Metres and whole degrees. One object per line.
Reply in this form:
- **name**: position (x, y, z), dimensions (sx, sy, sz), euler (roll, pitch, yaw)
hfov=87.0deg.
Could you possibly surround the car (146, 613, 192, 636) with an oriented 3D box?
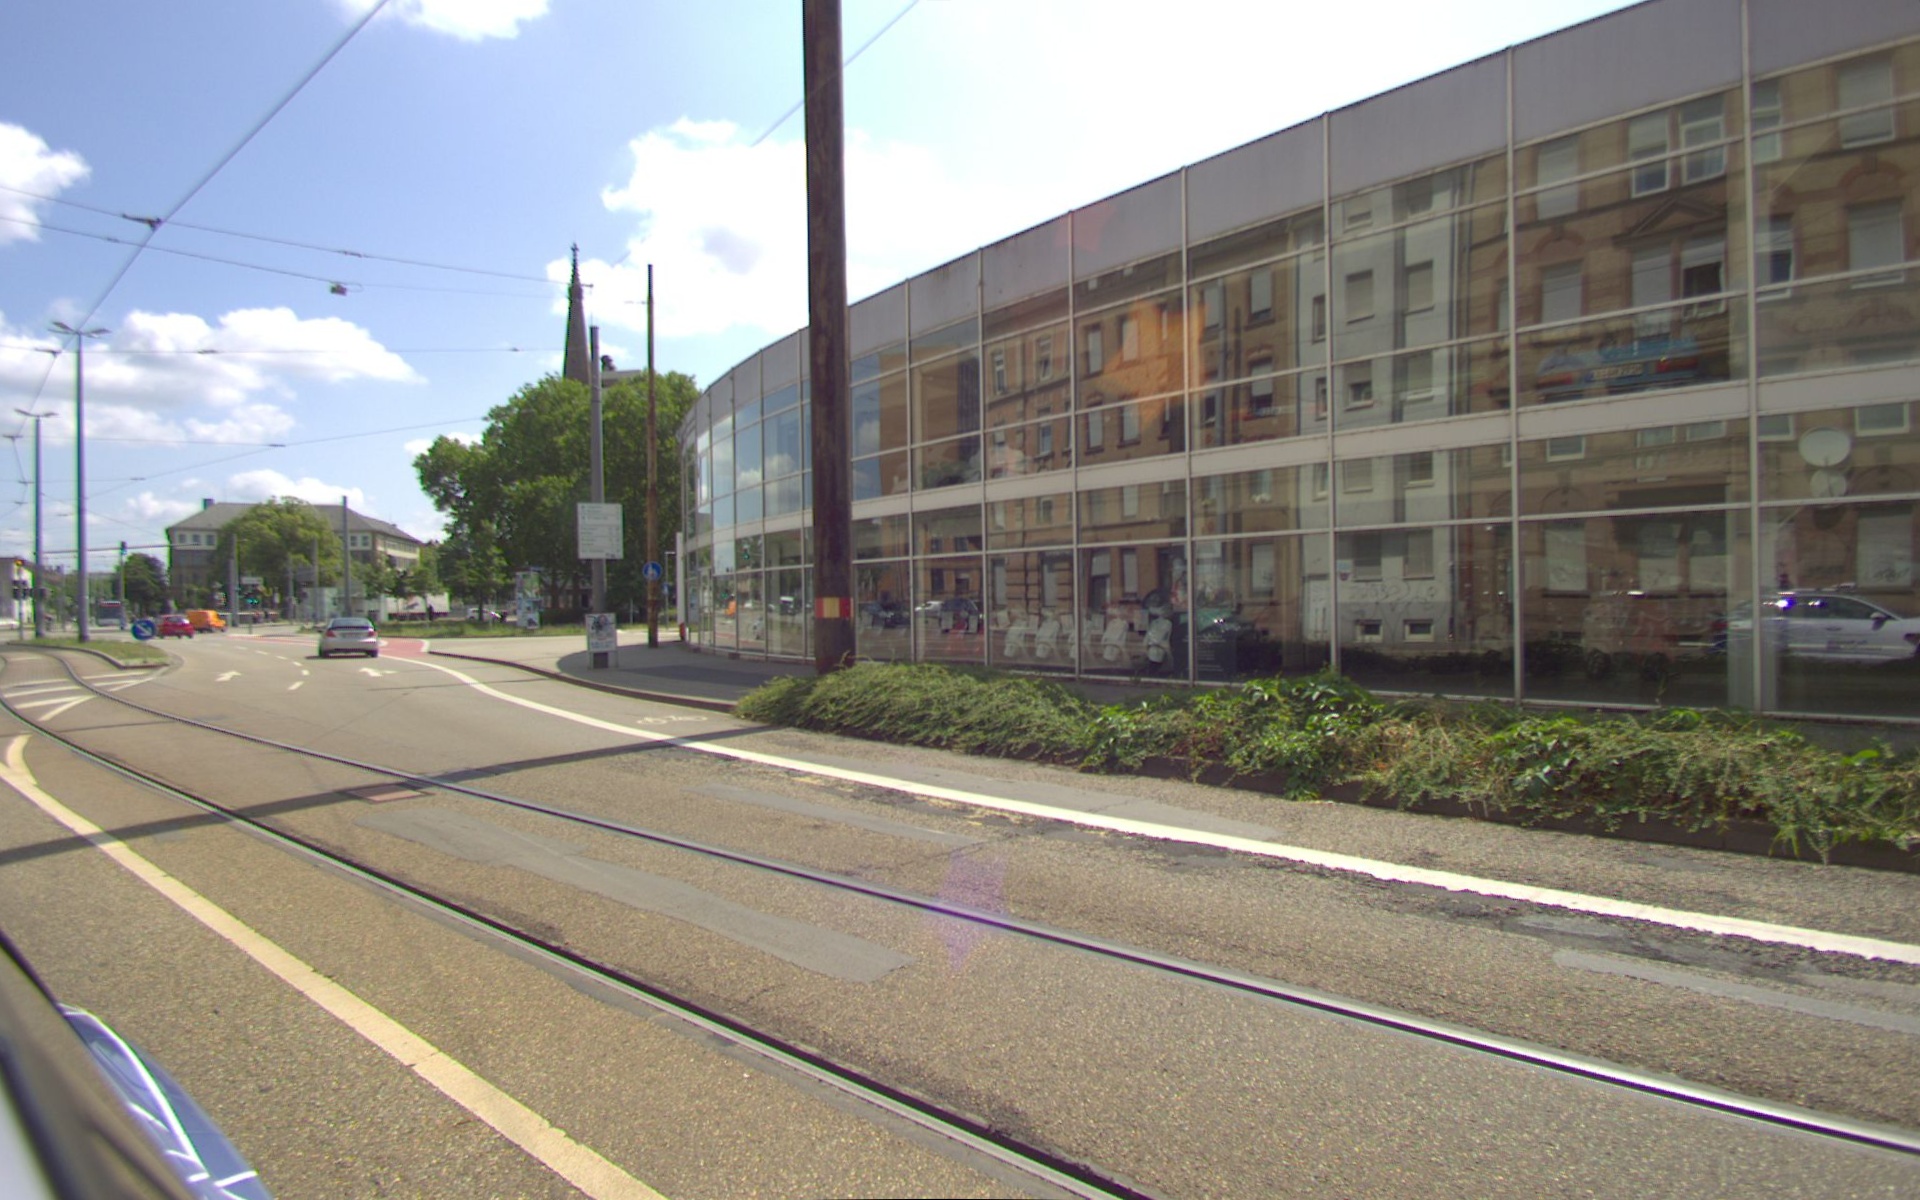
- **car**: position (-50.014, 1.553, 63.969), dimensions (3.902, 1.439, 1.683), euler (-2, -2, 43)

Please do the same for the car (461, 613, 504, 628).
- **car**: position (-53.501, 2.302, 113.394), dimensions (4.102, 1.655, 1.634), euler (-1, -1, -32)

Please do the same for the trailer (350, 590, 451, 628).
- **trailer**: position (-65.841, 1.003, 119.673), dimensions (2.916, 4.107, 13.380), euler (-1, 0, 9)

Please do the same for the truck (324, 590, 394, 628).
- **truck**: position (-66.927, 0.989, 112.904), dimensions (2.931, 4.150, 6.858), euler (-1, 0, 9)

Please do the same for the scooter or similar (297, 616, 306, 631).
- **scooter or similar**: position (-51.336, 1.837, 78.881), dimensions (0.549, 1.209, 0.456), euler (-2, -1, 39)

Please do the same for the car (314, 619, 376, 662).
- **car**: position (-21.902, 1.400, 36.006), dimensions (1.789, 1.431, 4.199), euler (1, -2, -32)

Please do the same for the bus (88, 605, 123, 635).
- **bus**: position (-102.250, 2.429, 121.159), dimensions (2.905, 3.473, 7.962), euler (-1, -1, -38)

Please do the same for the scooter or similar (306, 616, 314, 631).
- **scooter or similar**: position (-51.032, 1.861, 79.439), dimensions (0.556, 1.133, 0.411), euler (-2, -1, 39)

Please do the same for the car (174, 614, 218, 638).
- **car**: position (-61.559, 2.080, 81.533), dimensions (4.363, 1.880, 1.892), euler (-1, -1, 39)
